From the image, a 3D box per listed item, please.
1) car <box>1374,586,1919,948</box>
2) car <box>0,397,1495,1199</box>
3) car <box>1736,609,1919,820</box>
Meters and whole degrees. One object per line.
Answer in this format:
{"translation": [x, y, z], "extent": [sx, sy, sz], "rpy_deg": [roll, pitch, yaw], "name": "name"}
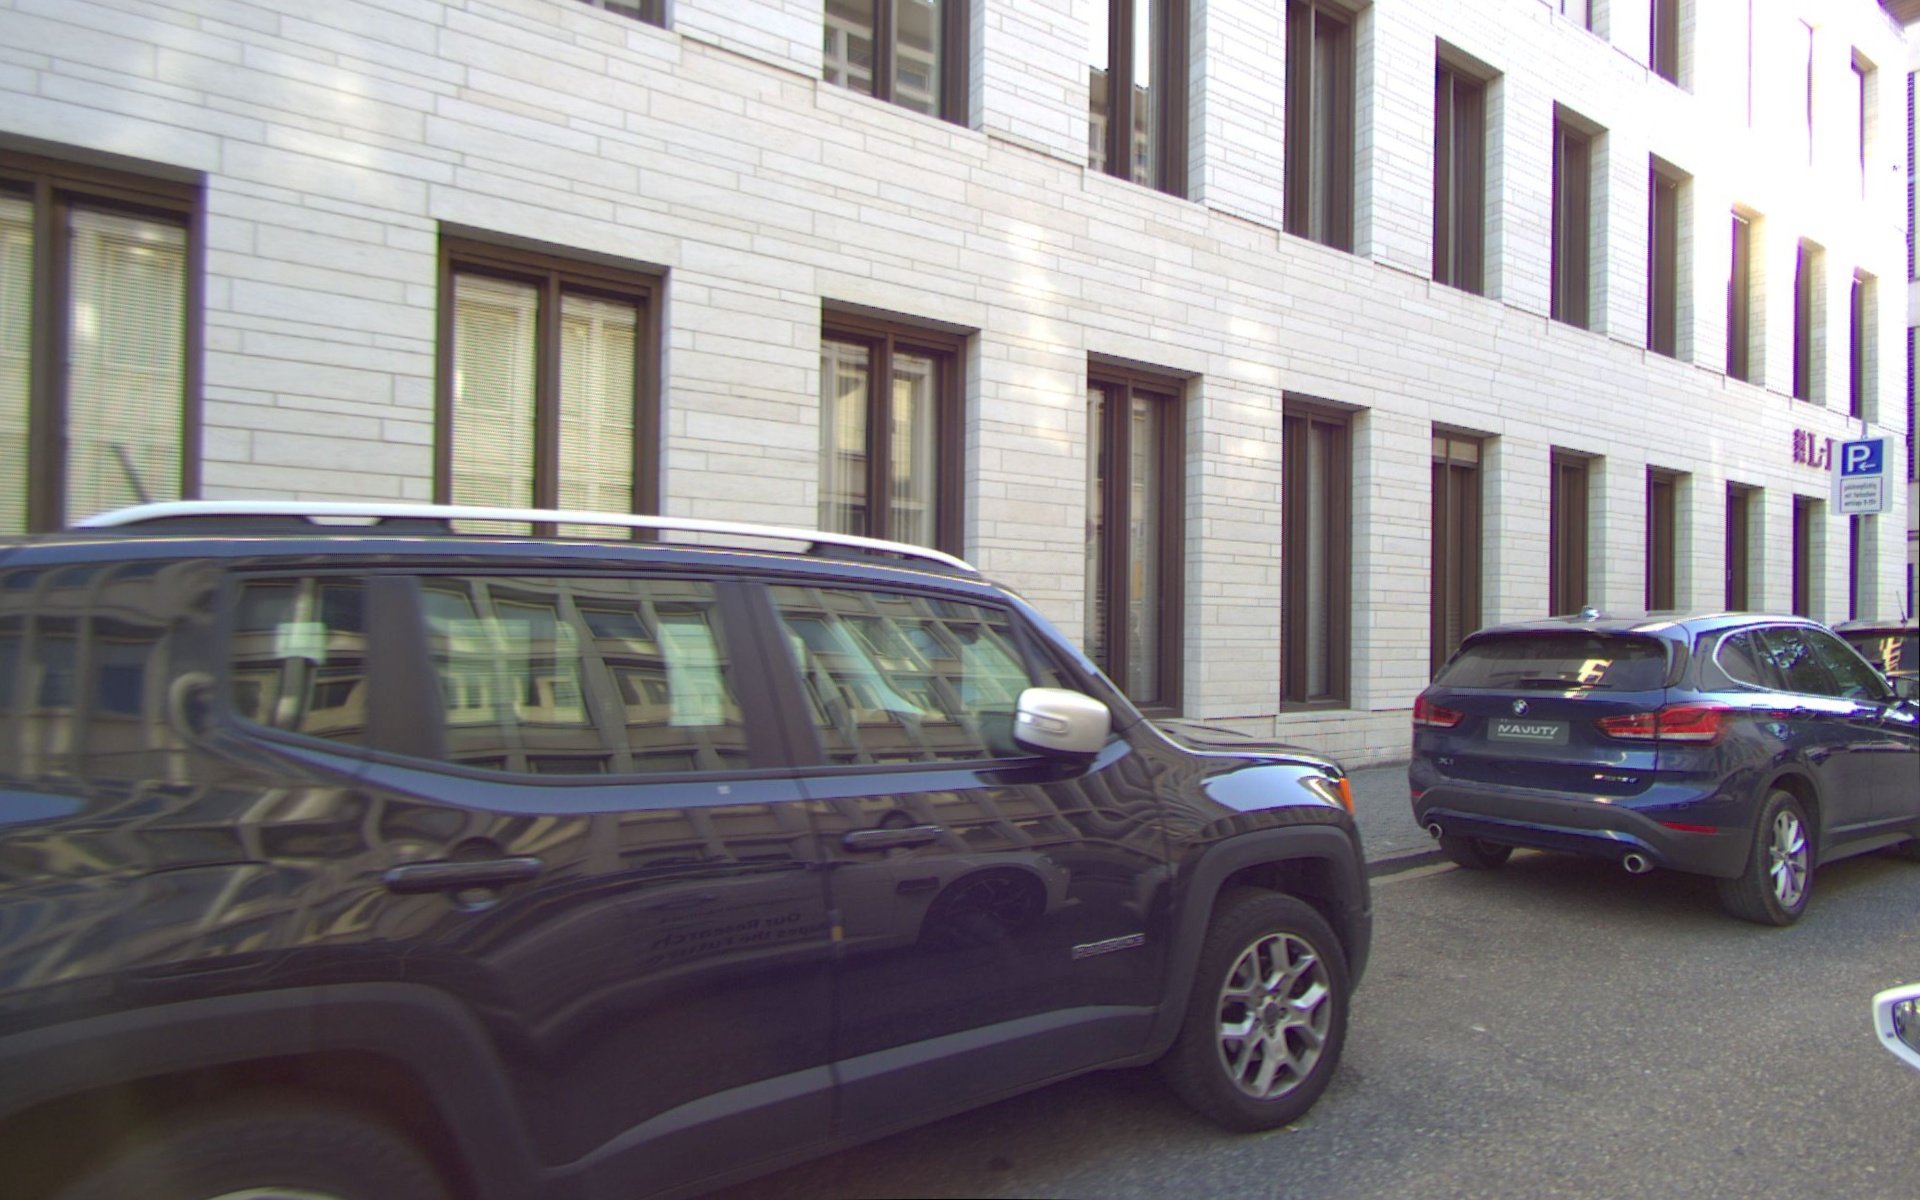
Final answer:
{"translation": [4.670, 0.822, 6.373], "extent": [4.109, 1.615, 1.730], "rpy_deg": [1, -3, -33], "name": "car"}
{"translation": [-0.461, 0.669, 2.901], "extent": [3.974, 1.737, 1.812], "rpy_deg": [1, -3, -33], "name": "car"}
{"translation": [9.360, 0.971, 9.476], "extent": [4.215, 1.699, 1.813], "rpy_deg": [1, -3, -32], "name": "car"}
